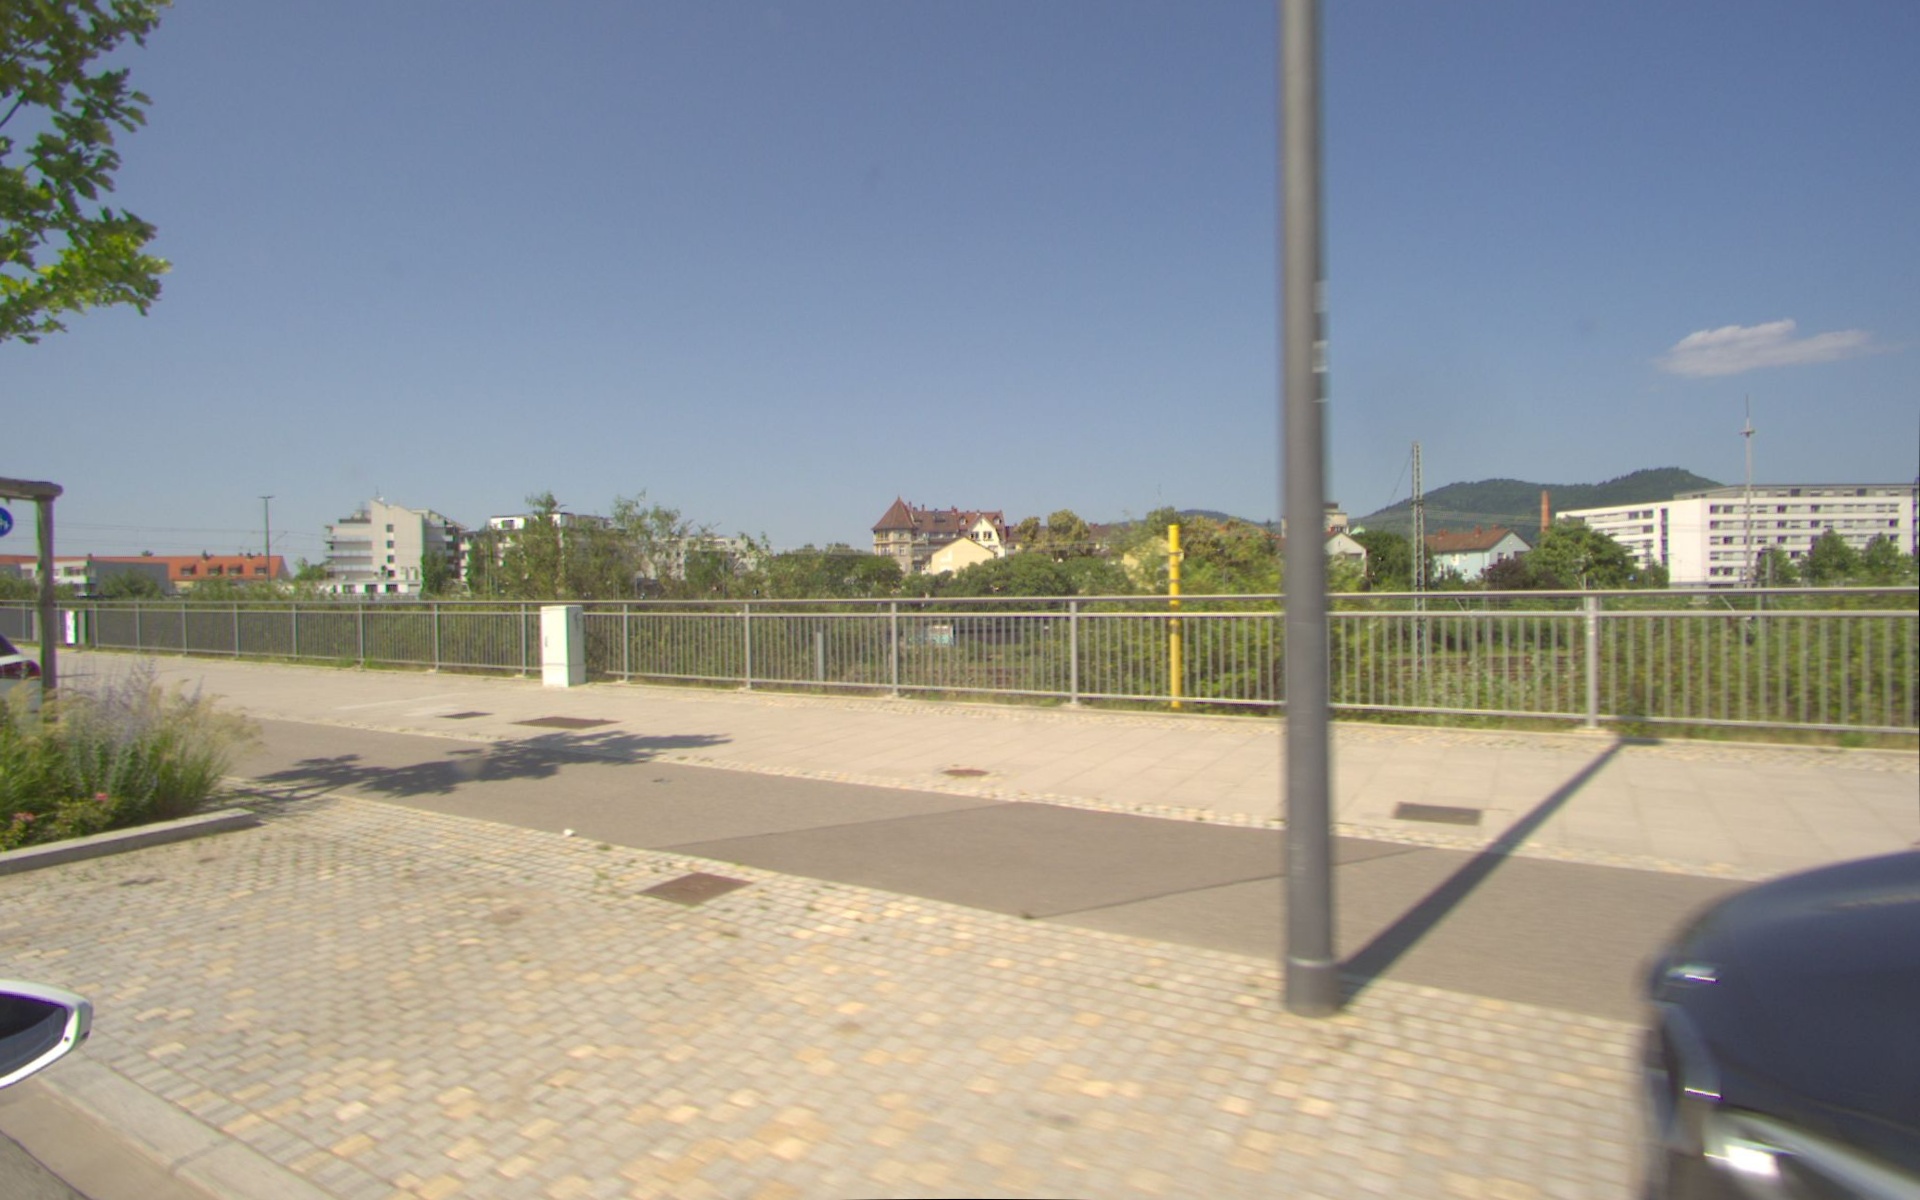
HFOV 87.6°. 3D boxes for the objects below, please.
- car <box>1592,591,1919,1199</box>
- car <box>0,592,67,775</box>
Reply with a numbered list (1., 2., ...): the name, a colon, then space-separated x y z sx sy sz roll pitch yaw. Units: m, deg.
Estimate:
1. car: 3.020 0.673 0.815 4.210 1.420 1.700 -2 1 33
2. car: -9.858 0.717 8.955 4.145 1.495 1.692 -1 1 32
